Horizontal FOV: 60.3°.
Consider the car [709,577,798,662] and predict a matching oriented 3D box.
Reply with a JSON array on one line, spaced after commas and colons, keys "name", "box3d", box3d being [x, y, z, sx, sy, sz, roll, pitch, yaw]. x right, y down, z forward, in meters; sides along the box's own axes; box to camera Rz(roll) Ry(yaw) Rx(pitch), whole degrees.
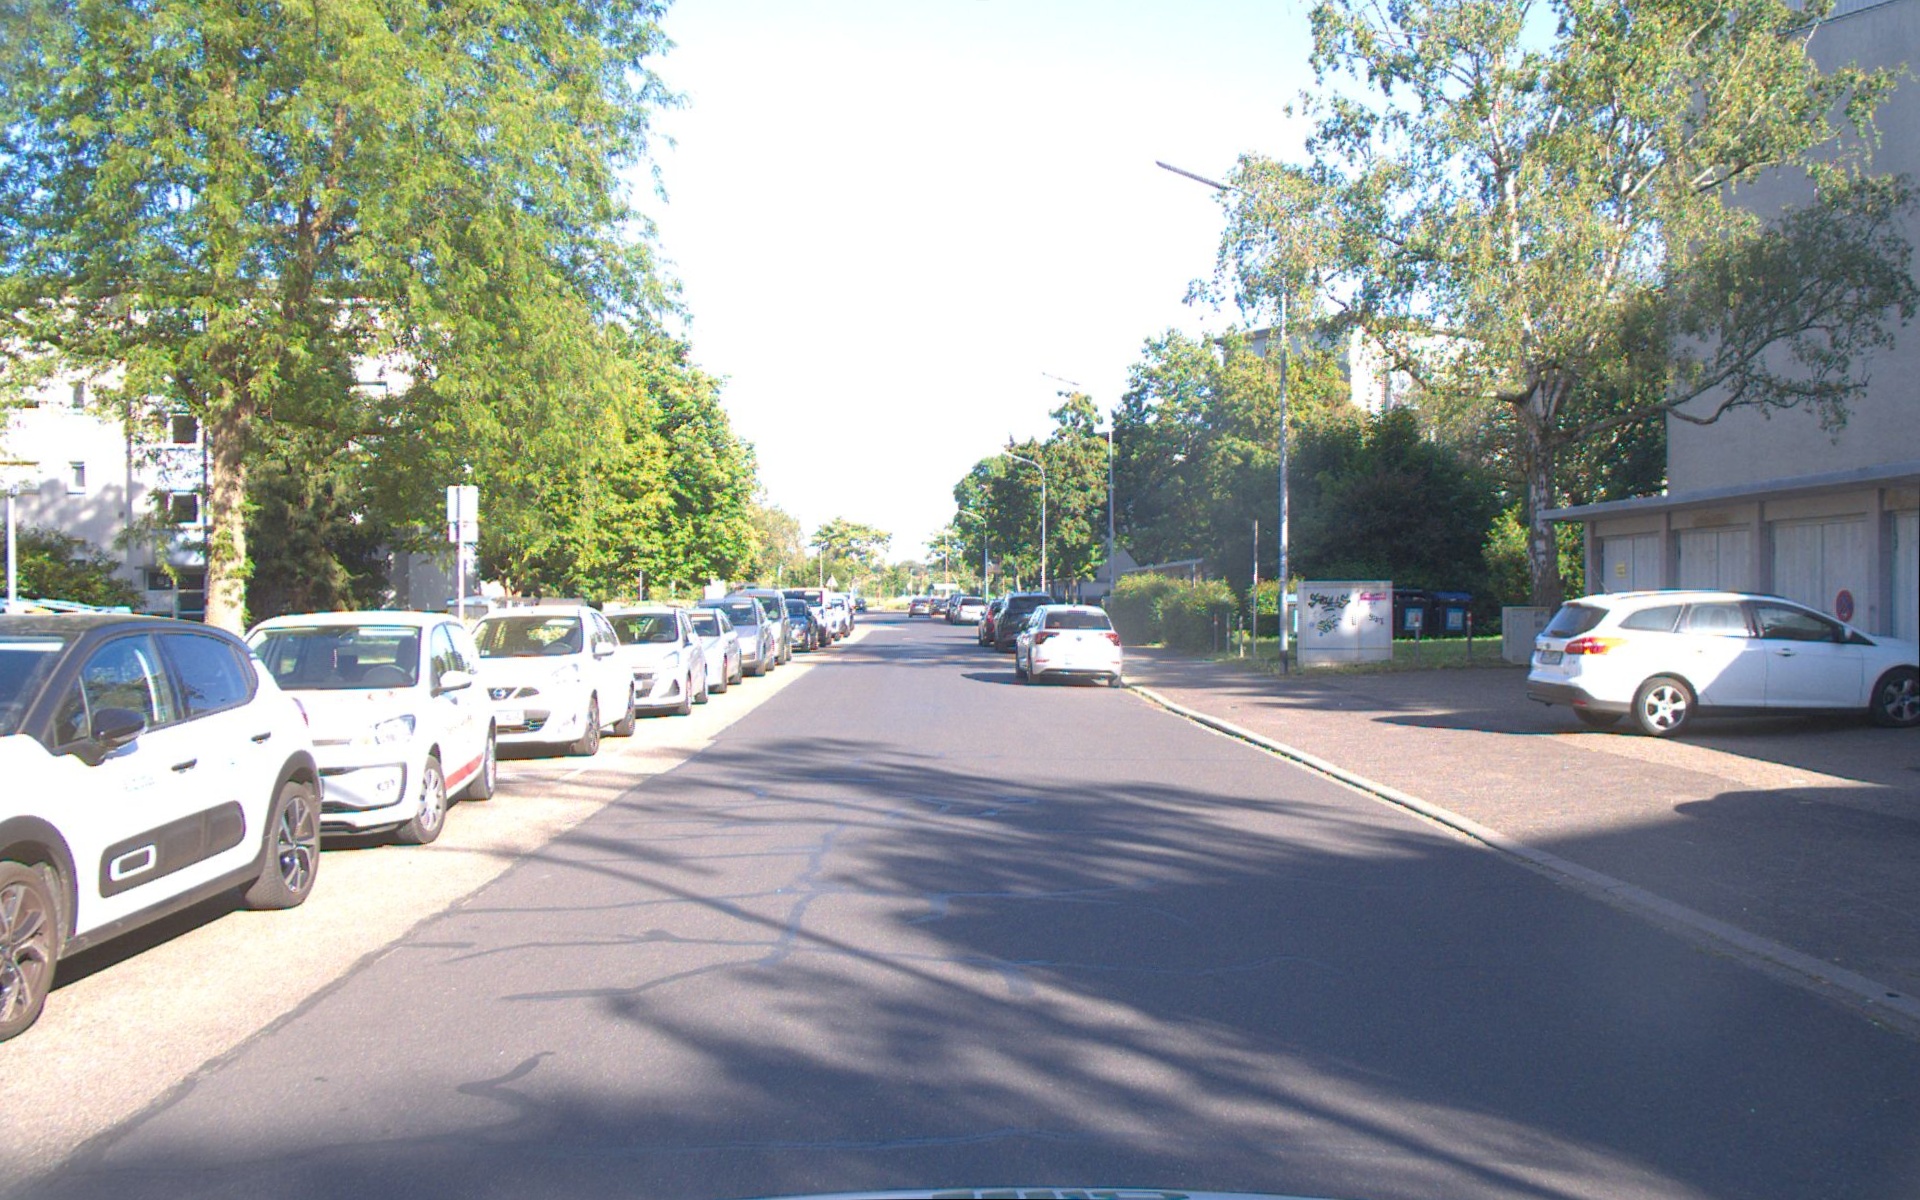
[{"name": "car", "box3d": [-5.027, 0.451, 40.744, 1.817, 1.925, 4.415, -2, 0, -3]}]

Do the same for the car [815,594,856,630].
[{"name": "car", "box3d": [-5.960, 0.567, 79.626, 1.711, 1.641, 4.306, -2, 0, -2]}]

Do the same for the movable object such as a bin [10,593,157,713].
[{"name": "movable object such as a bin", "box3d": [-11.225, 0.659, 21.235, 1.111, 1.445, 1.361, 2, 0, 0]}]

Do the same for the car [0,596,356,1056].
[{"name": "car", "box3d": [-4.067, 0.776, 6.923, 1.629, 1.540, 3.945, -1, 0, -1]}]

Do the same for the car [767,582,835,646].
[{"name": "car", "box3d": [-5.338, 0.444, 56.042, 1.876, 1.997, 5.086, -2, 0, -1]}]

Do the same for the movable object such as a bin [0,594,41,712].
[{"name": "movable object such as a bin", "box3d": [-12.475, 0.648, 20.616, 1.153, 1.445, 1.462, 2, 0, 0]}]

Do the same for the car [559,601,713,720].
[{"name": "car", "box3d": [-4.601, 0.809, 23.956, 1.653, 1.532, 3.815, -1, 0, -3]}]

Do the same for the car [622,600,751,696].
[{"name": "car", "box3d": [-4.785, 0.786, 29.502, 1.653, 1.490, 4.523, -3, 0, -2]}]

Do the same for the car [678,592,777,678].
[{"name": "car", "box3d": [-4.855, 0.686, 34.982, 1.676, 1.628, 3.983, -3, 0, -3]}]

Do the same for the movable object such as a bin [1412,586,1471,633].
[{"name": "movable object such as a bin", "box3d": [14.262, 0.276, 48.981, 1.233, 1.376, 1.275, 0, 0, -12]}]

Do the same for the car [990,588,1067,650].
[{"name": "car", "box3d": [1.897, 0.504, 47.261, 1.869, 1.668, 4.627, 0, 0, -2]}]

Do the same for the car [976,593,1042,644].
[{"name": "car", "box3d": [1.521, 0.553, 53.099, 1.869, 1.557, 4.326, 0, 0, -2]}]

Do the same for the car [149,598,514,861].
[{"name": "car", "box3d": [-4.278, 0.776, 11.799, 1.631, 1.540, 3.532, -1, 0, -8]}]

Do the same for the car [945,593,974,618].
[{"name": "car", "box3d": [-0.036, 0.358, 113.792, 1.760, 1.672, 3.948, 1, 0, -4]}]

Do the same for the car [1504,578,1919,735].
[{"name": "car", "box3d": [8.482, 0.582, 18.264, 4.325, 1.540, 1.828, -1, 0, -1]}]

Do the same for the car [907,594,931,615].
[{"name": "car", "box3d": [-3.167, 0.329, 128.171, 1.646, 1.540, 4.101, 1, 0, -4]}]

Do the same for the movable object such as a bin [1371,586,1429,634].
[{"name": "movable object such as a bin", "box3d": [12.878, 0.275, 48.410, 1.232, 1.376, 1.276, 0, 0, -10]}]

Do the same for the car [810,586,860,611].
[{"name": "car", "box3d": [-10.237, -0.113, 135.167, 3.976, 2.027, 1.799, 1, 0, -7]}]

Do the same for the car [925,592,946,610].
[{"name": "car", "box3d": [-2.360, 0.101, 156.004, 1.760, 1.672, 3.948, 1, 0, -4]}]

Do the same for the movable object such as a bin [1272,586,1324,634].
[{"name": "movable object such as a bin", "box3d": [9.844, 0.283, 48.265, 1.229, 1.376, 1.278, 0, 0, -2]}]

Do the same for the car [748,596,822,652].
[{"name": "car", "box3d": [-5.215, 0.675, 49.820, 1.710, 1.560, 4.139, -2, 0, 1]}]

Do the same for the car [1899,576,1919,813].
[{"name": "car", "box3d": [8.442, 0.562, 10.054, 4.421, 1.540, 1.828, -1, 0, -1]}]

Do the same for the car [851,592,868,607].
[{"name": "car", "box3d": [-11.277, -0.050, 185.396, 1.760, 1.589, 3.948, 1, 0, -4]}]

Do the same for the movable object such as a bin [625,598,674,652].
[{"name": "movable object such as a bin", "box3d": [-8.663, 0.682, 46.153, 1.079, 1.445, 1.360, 2, 0, -1]}]

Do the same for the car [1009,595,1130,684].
[{"name": "car", "box3d": [2.000, 0.691, 31.248, 1.719, 1.540, 4.101, 1, 0, -4]}]

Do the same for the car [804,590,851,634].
[{"name": "car", "box3d": [-5.568, 0.493, 69.922, 1.711, 1.762, 4.004, -2, 0, -2]}]

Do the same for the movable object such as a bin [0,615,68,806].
[{"name": "movable object such as a bin", "box3d": [-7.587, 0.801, 12.280, 1.153, 1.363, 1.343, 2, 0, 0]}]

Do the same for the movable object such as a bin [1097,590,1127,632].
[{"name": "movable object such as a bin", "box3d": [5.366, 0.392, 58.559, 0.899, 1.479, 1.232, -1, 0, -2]}]

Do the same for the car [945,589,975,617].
[{"name": "car", "box3d": [-0.016, 0.206, 109.192, 1.760, 1.818, 3.948, 1, 0, -4]}]

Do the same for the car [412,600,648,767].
[{"name": "car", "box3d": [-4.536, 0.807, 17.997, 1.653, 1.561, 3.889, -1, 0, -2]}]

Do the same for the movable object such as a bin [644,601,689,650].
[{"name": "movable object such as a bin", "box3d": [-8.683, 0.736, 48.986, 1.079, 1.380, 1.360, 2, 0, -1]}]

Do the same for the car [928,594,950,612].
[{"name": "car", "box3d": [-1.936, 0.230, 148.590, 1.760, 1.576, 3.948, 1, 0, -4]}]

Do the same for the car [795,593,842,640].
[{"name": "car", "box3d": [-5.476, 0.607, 64.318, 1.712, 1.699, 4.374, -2, 0, -4]}]

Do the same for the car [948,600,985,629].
[{"name": "car", "box3d": [0.340, 0.777, 93.225, 1.760, 1.589, 3.948, 1, 0, -4]}]
